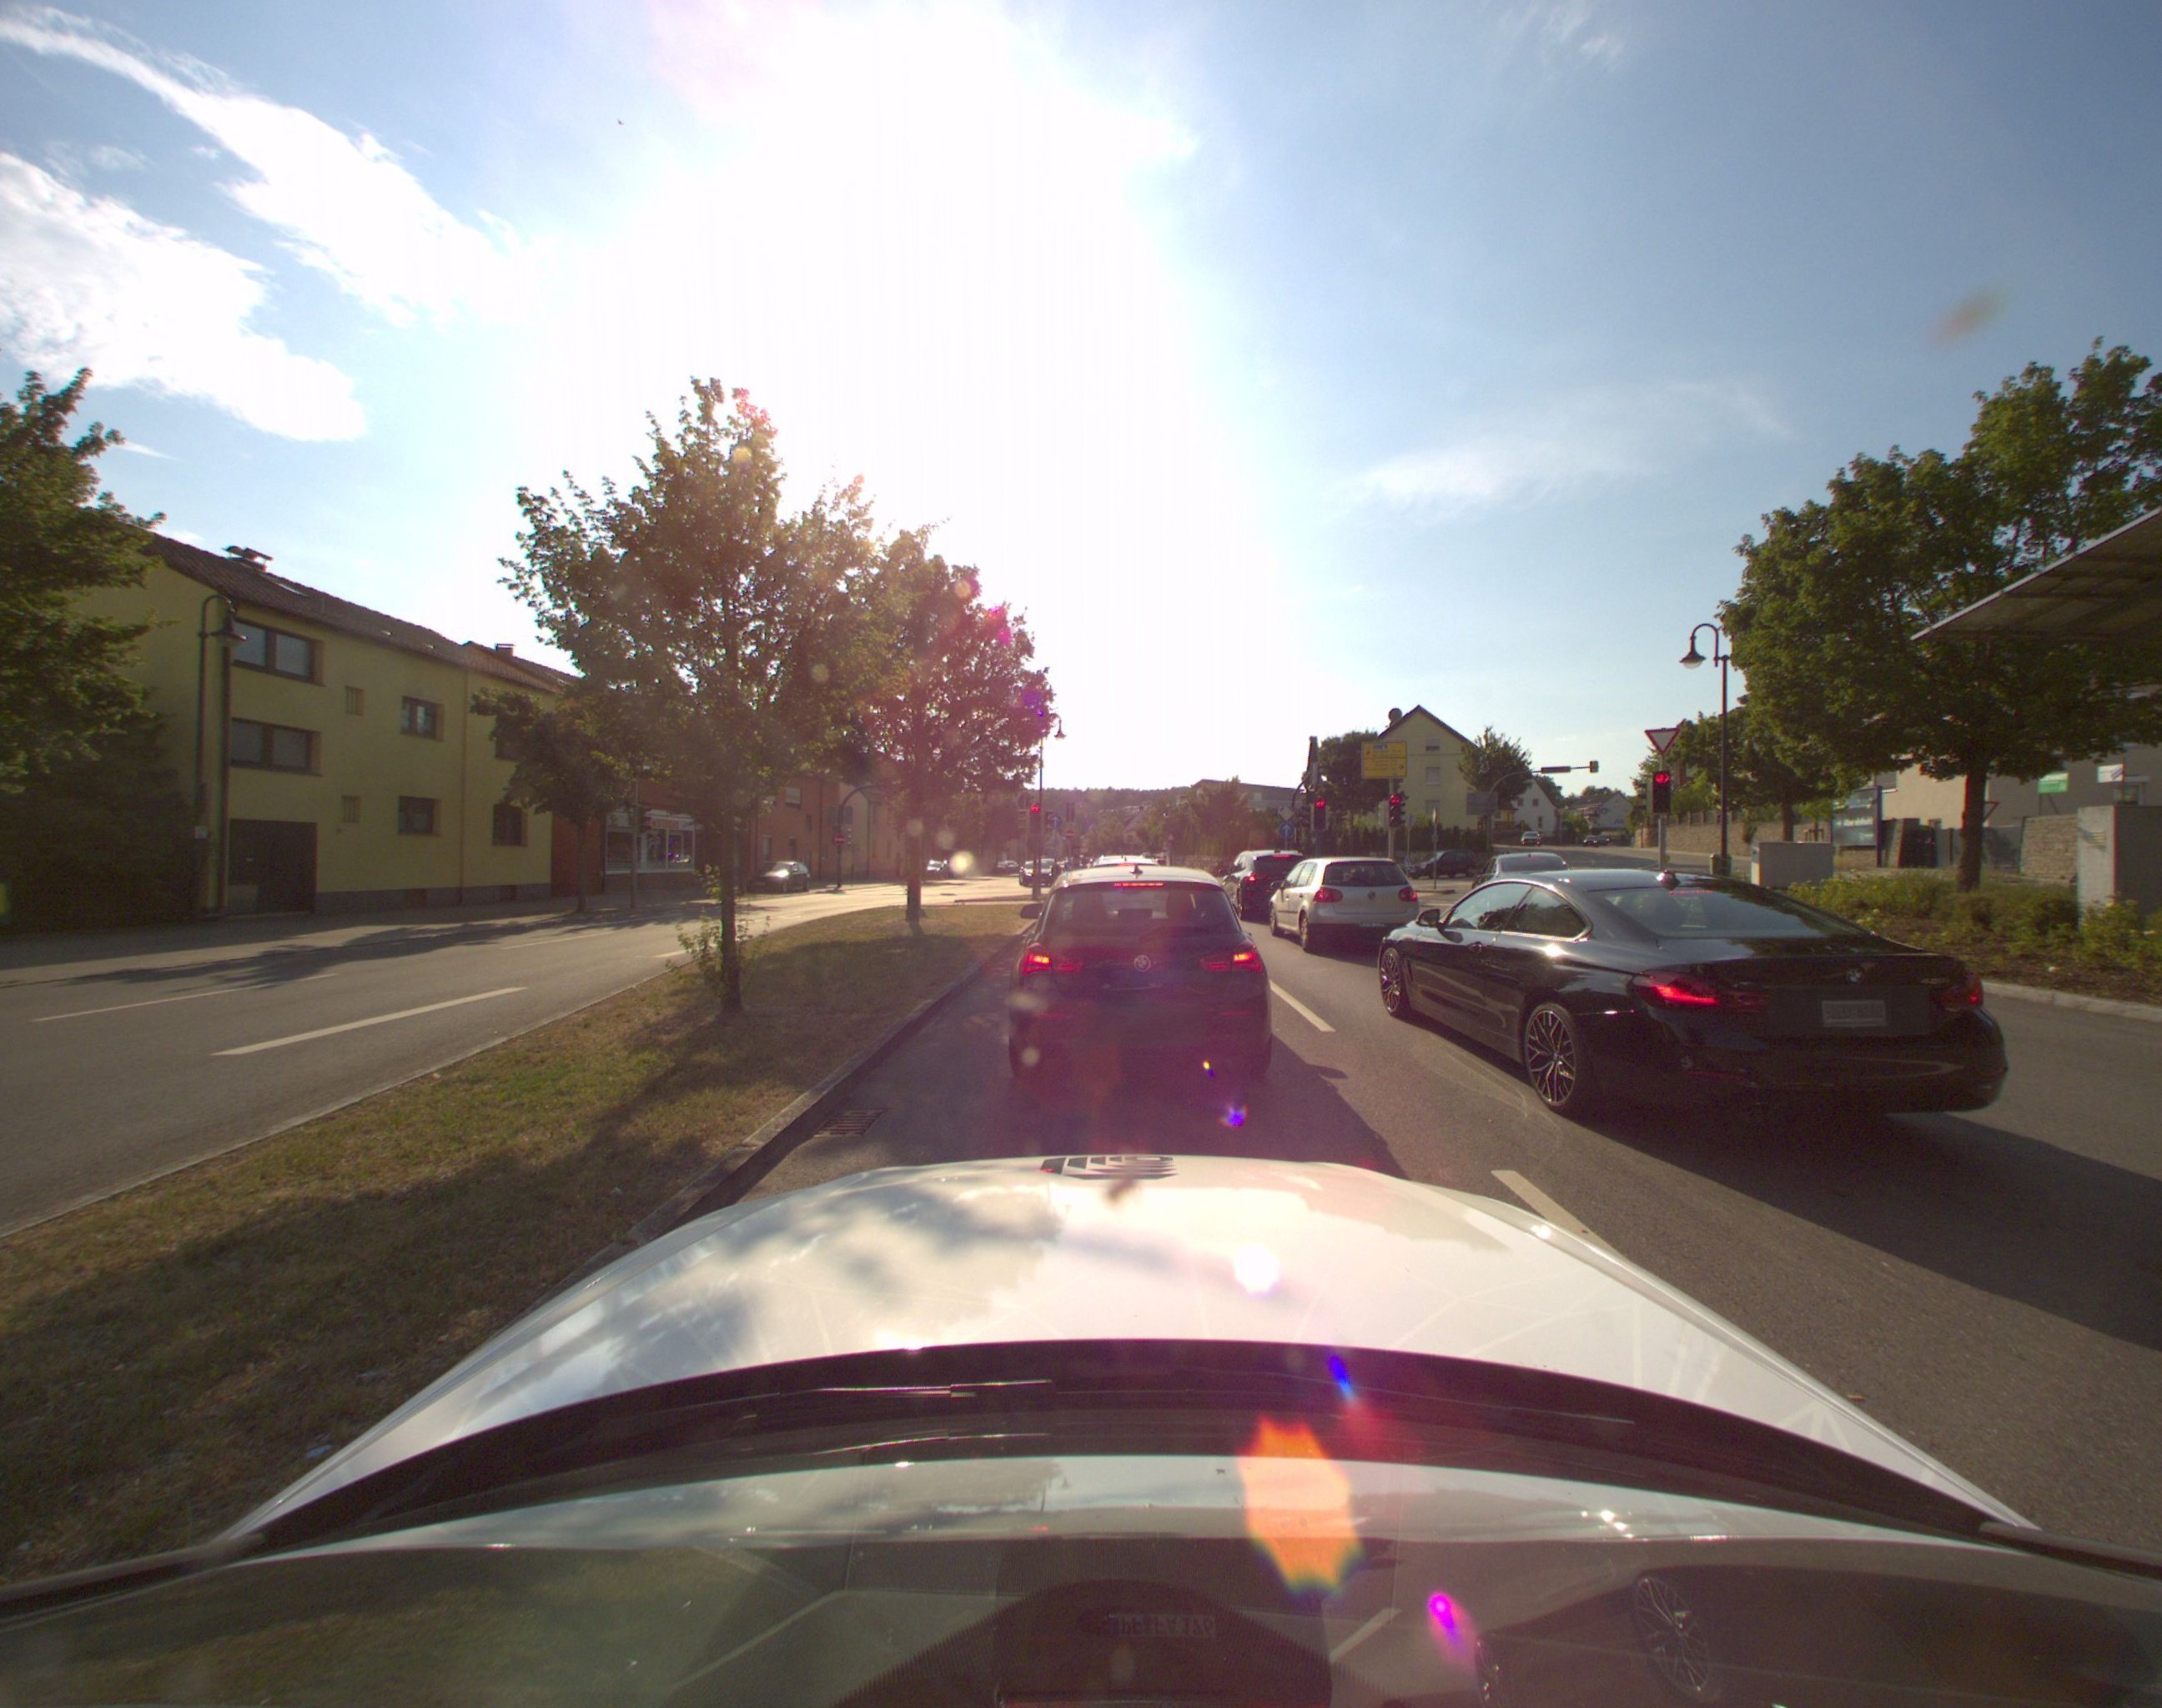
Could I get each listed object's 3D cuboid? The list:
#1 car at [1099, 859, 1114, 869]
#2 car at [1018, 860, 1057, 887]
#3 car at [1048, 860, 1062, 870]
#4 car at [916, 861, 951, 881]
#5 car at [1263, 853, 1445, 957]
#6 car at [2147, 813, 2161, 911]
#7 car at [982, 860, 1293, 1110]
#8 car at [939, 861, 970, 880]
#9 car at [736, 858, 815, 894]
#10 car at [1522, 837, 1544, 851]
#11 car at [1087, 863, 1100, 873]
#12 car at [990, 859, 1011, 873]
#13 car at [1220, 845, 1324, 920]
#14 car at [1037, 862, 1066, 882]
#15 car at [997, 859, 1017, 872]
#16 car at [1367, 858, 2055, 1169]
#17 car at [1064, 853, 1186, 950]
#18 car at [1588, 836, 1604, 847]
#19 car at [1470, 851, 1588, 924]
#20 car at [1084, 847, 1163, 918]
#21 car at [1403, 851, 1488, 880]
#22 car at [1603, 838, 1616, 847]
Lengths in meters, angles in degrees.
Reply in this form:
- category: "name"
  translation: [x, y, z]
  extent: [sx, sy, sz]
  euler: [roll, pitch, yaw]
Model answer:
- category: "car"
  translation: [3.814, 1.524, 123.681]
  extent: [1.858, 1.485, 4.652]
  euler: [0, 0, -4]
- category: "car"
  translation: [-2.576, 1.113, 47.201]
  extent: [1.767, 1.458, 3.985]
  euler: [0, 0, -11]
- category: "car"
  translation: [-4.107, 1.757, 129.120]
  extent: [1.916, 1.596, 4.004]
  euler: [0, 0, 4]
- category: "car"
  translation: [-12.215, 1.362, 67.635]
  extent: [1.916, 1.596, 4.004]
  euler: [0, 0, 4]
- category: "car"
  translation: [4.316, 0.725, 13.614]
  extent: [1.808, 1.446, 4.351]
  euler: [-1, 0, 3]
- category: "car"
  translation: [19.540, 0.119, 12.247]
  extent: [3.958, 1.608, 1.861]
  euler: [0, 0, 14]
- category: "car"
  translation: [0.453, 0.775, 6.893]
  extent: [1.783, 1.414, 4.351]
  euler: [-1, 0, 3]
- category: "car"
  translation: [-11.411, 1.484, 73.808]
  extent: [1.916, 1.596, 4.004]
  euler: [0, 0, 4]
- category: "car"
  translation: [-14.181, 0.977, 38.074]
  extent: [1.834, 1.552, 4.005]
  euler: [2, 0, 5]
- category: "car"
  translation: [43.879, -1.004, 79.005]
  extent: [1.694, 1.244, 4.025]
  euler: [-1, 1, 31]
- category: "car"
  translation: [2.234, 2.439, 145.360]
  extent: [1.887, 1.702, 4.518]
  euler: [-2, 0, -4]
- category: "car"
  translation: [-9.615, 1.385, 97.719]
  extent: [1.916, 1.596, 4.004]
  euler: [0, 0, 4]
- category: "car"
  translation: [4.611, 0.642, 20.270]
  extent: [1.808, 1.666, 4.351]
  euler: [-1, 0, 3]
- category: "car"
  translation: [-2.148, 1.322, 59.704]
  extent: [1.685, 1.353, 4.004]
  euler: [0, 0, 4]
- category: "car"
  translation: [-9.308, 1.394, 103.221]
  extent: [1.916, 1.596, 4.004]
  euler: [0, 0, 4]
- category: "car"
  translation: [3.625, 0.741, 5.896]
  extent: [1.808, 1.388, 4.351]
  euler: [-1, 0, 3]
- category: "car"
  translation: [0.787, 0.724, 14.387]
  extent: [1.808, 1.451, 4.245]
  euler: [-1, 0, 3]
- category: "car"
  translation: [76.274, -1.822, 120.636]
  extent: [1.759, 1.580, 4.025]
  euler: [-1, 0, 37]
- category: "car"
  translation: [9.910, 0.659, 18.330]
  extent: [1.667, 1.435, 4.613]
  euler: [-1, 0, 21]
- category: "car"
  translation: [1.118, 0.661, 21.100]
  extent: [1.808, 1.641, 4.245]
  euler: [-1, 0, 3]
- category: "car"
  translation: [20.091, 0.606, 44.985]
  extent: [4.061, 1.507, 1.783]
  euler: [0, 0, -14]
- category: "car"
  translation: [90.722, -1.962, 139.796]
  extent: [1.759, 1.580, 4.025]
  euler: [-1, 0, 35]
